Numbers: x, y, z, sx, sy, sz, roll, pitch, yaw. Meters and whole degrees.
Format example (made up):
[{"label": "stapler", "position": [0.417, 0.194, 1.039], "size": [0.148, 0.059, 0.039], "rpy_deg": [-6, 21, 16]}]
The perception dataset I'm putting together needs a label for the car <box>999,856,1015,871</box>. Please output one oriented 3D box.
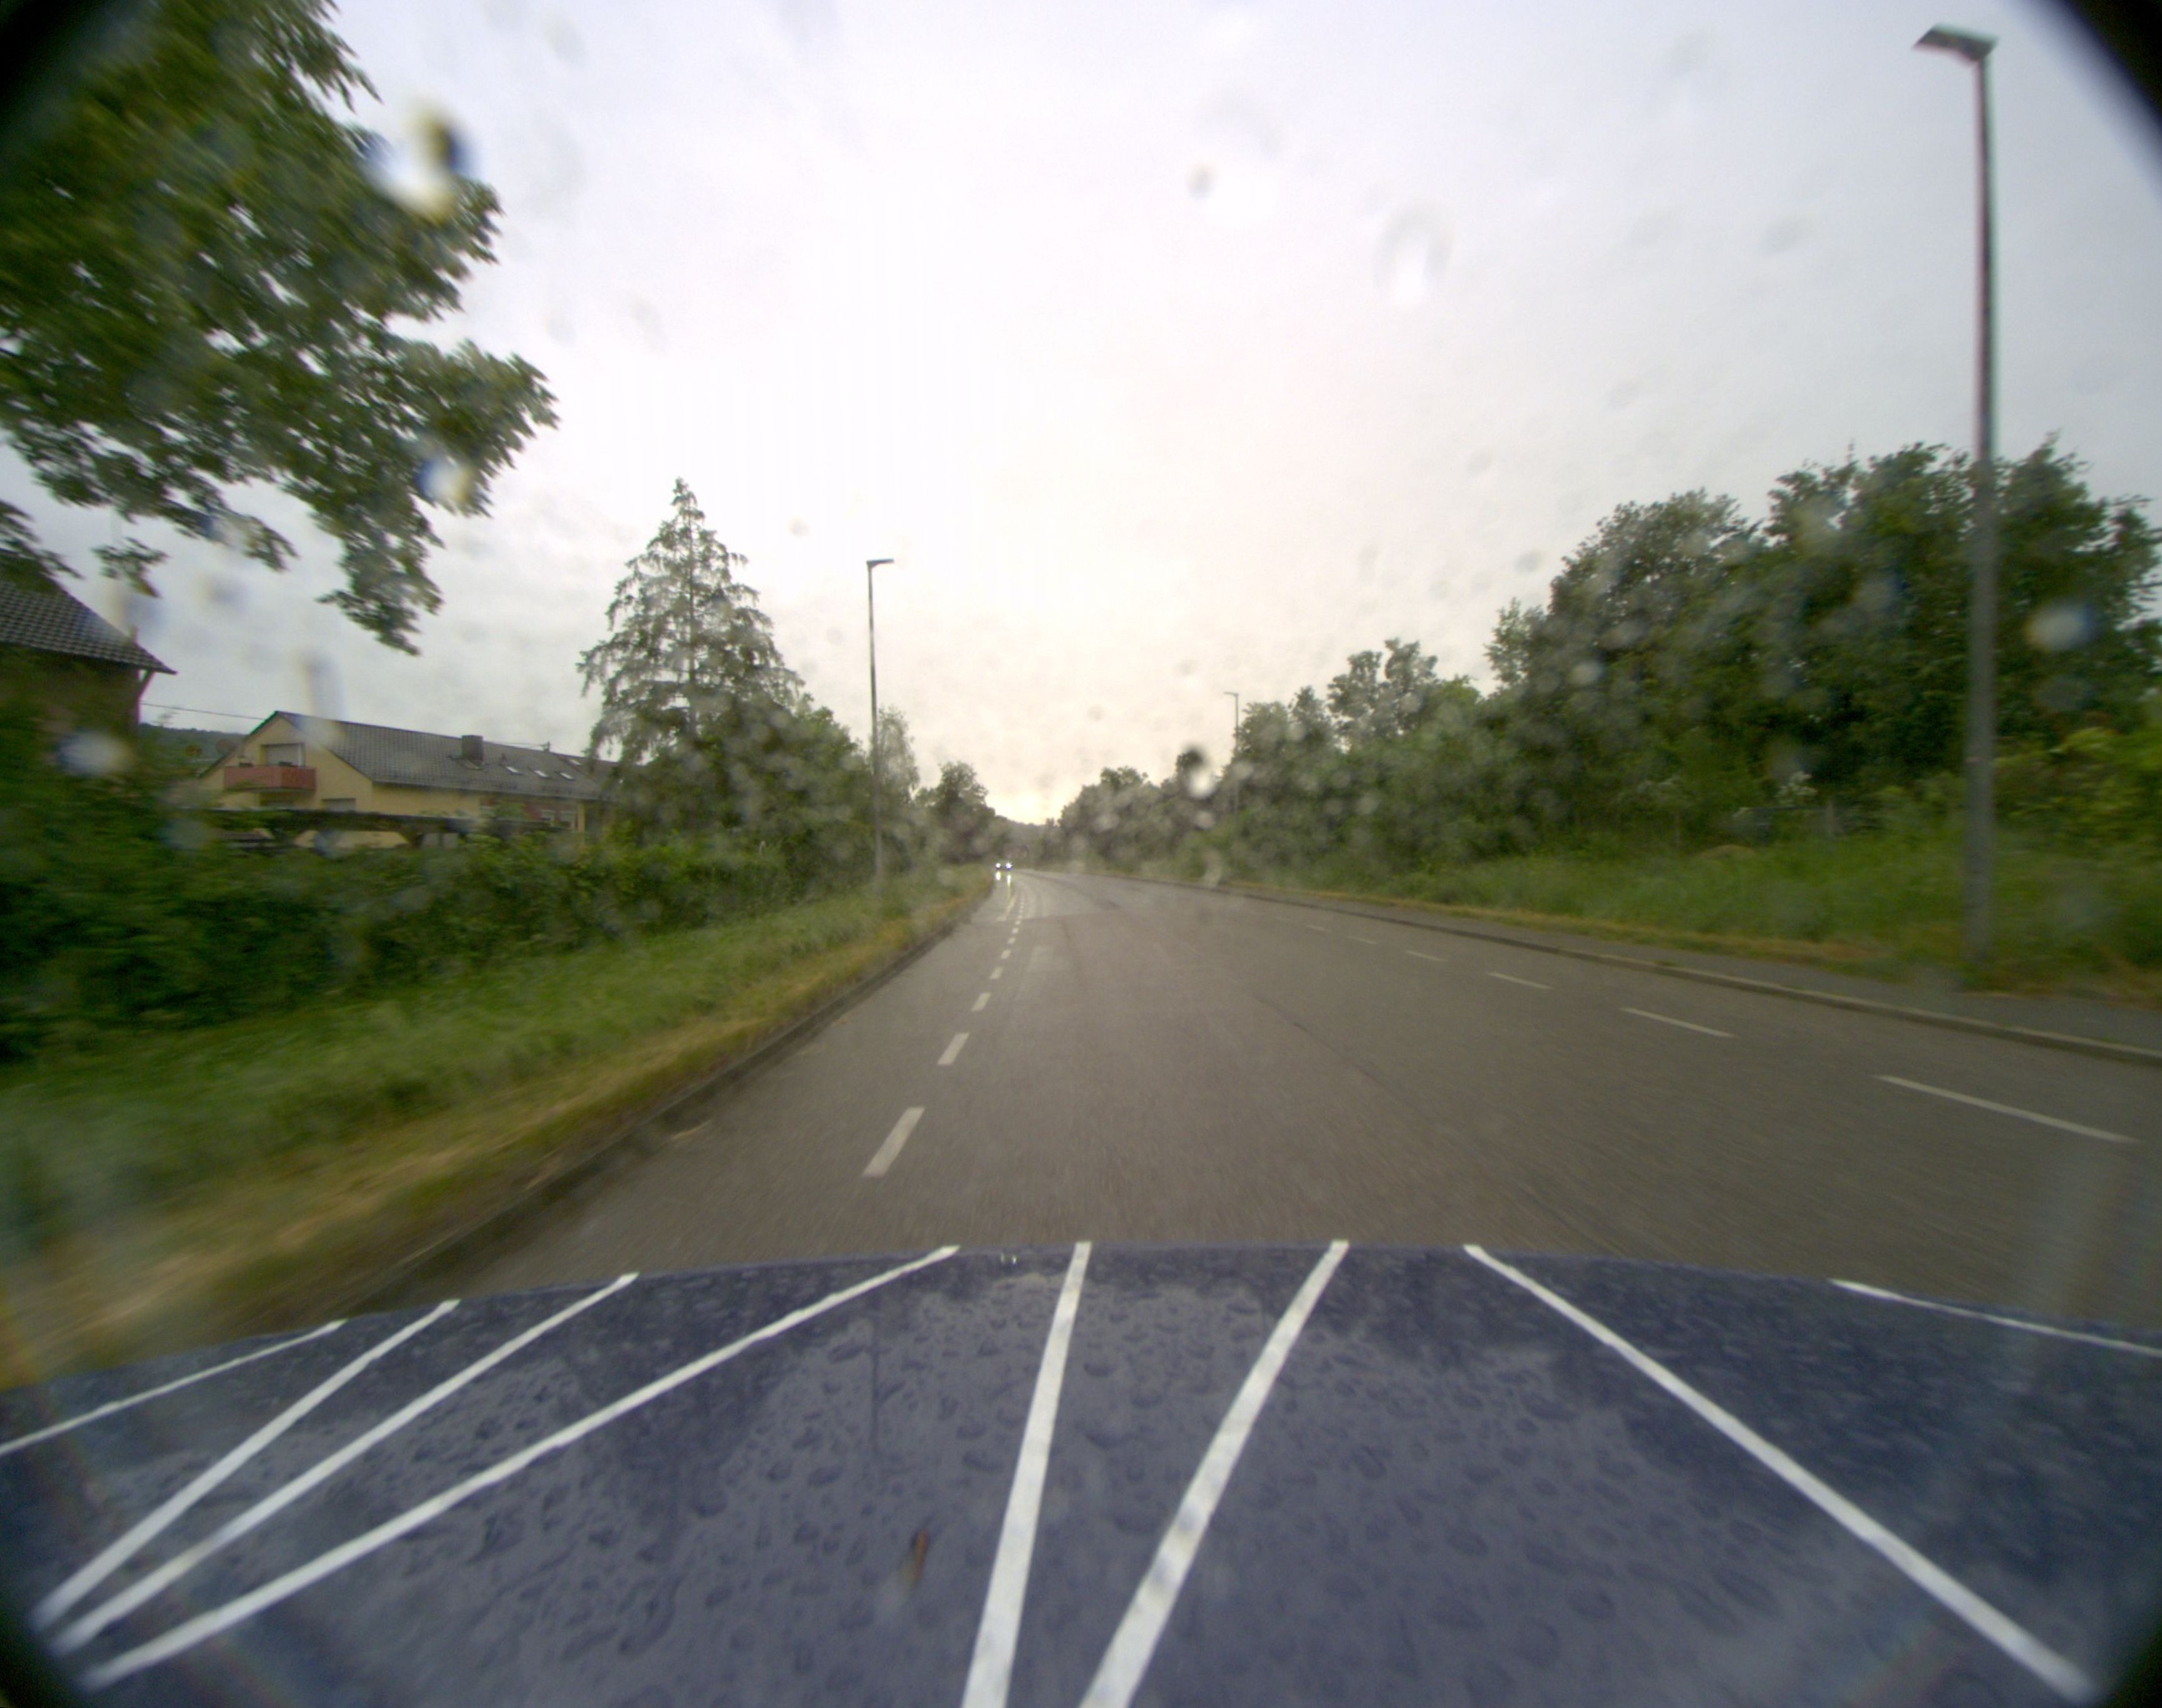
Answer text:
[{"label": "car", "position": [-9.822, 1.238, 100.780], "size": [2.000, 1.831, 3.998], "rpy_deg": [-1, 0, -7]}]
